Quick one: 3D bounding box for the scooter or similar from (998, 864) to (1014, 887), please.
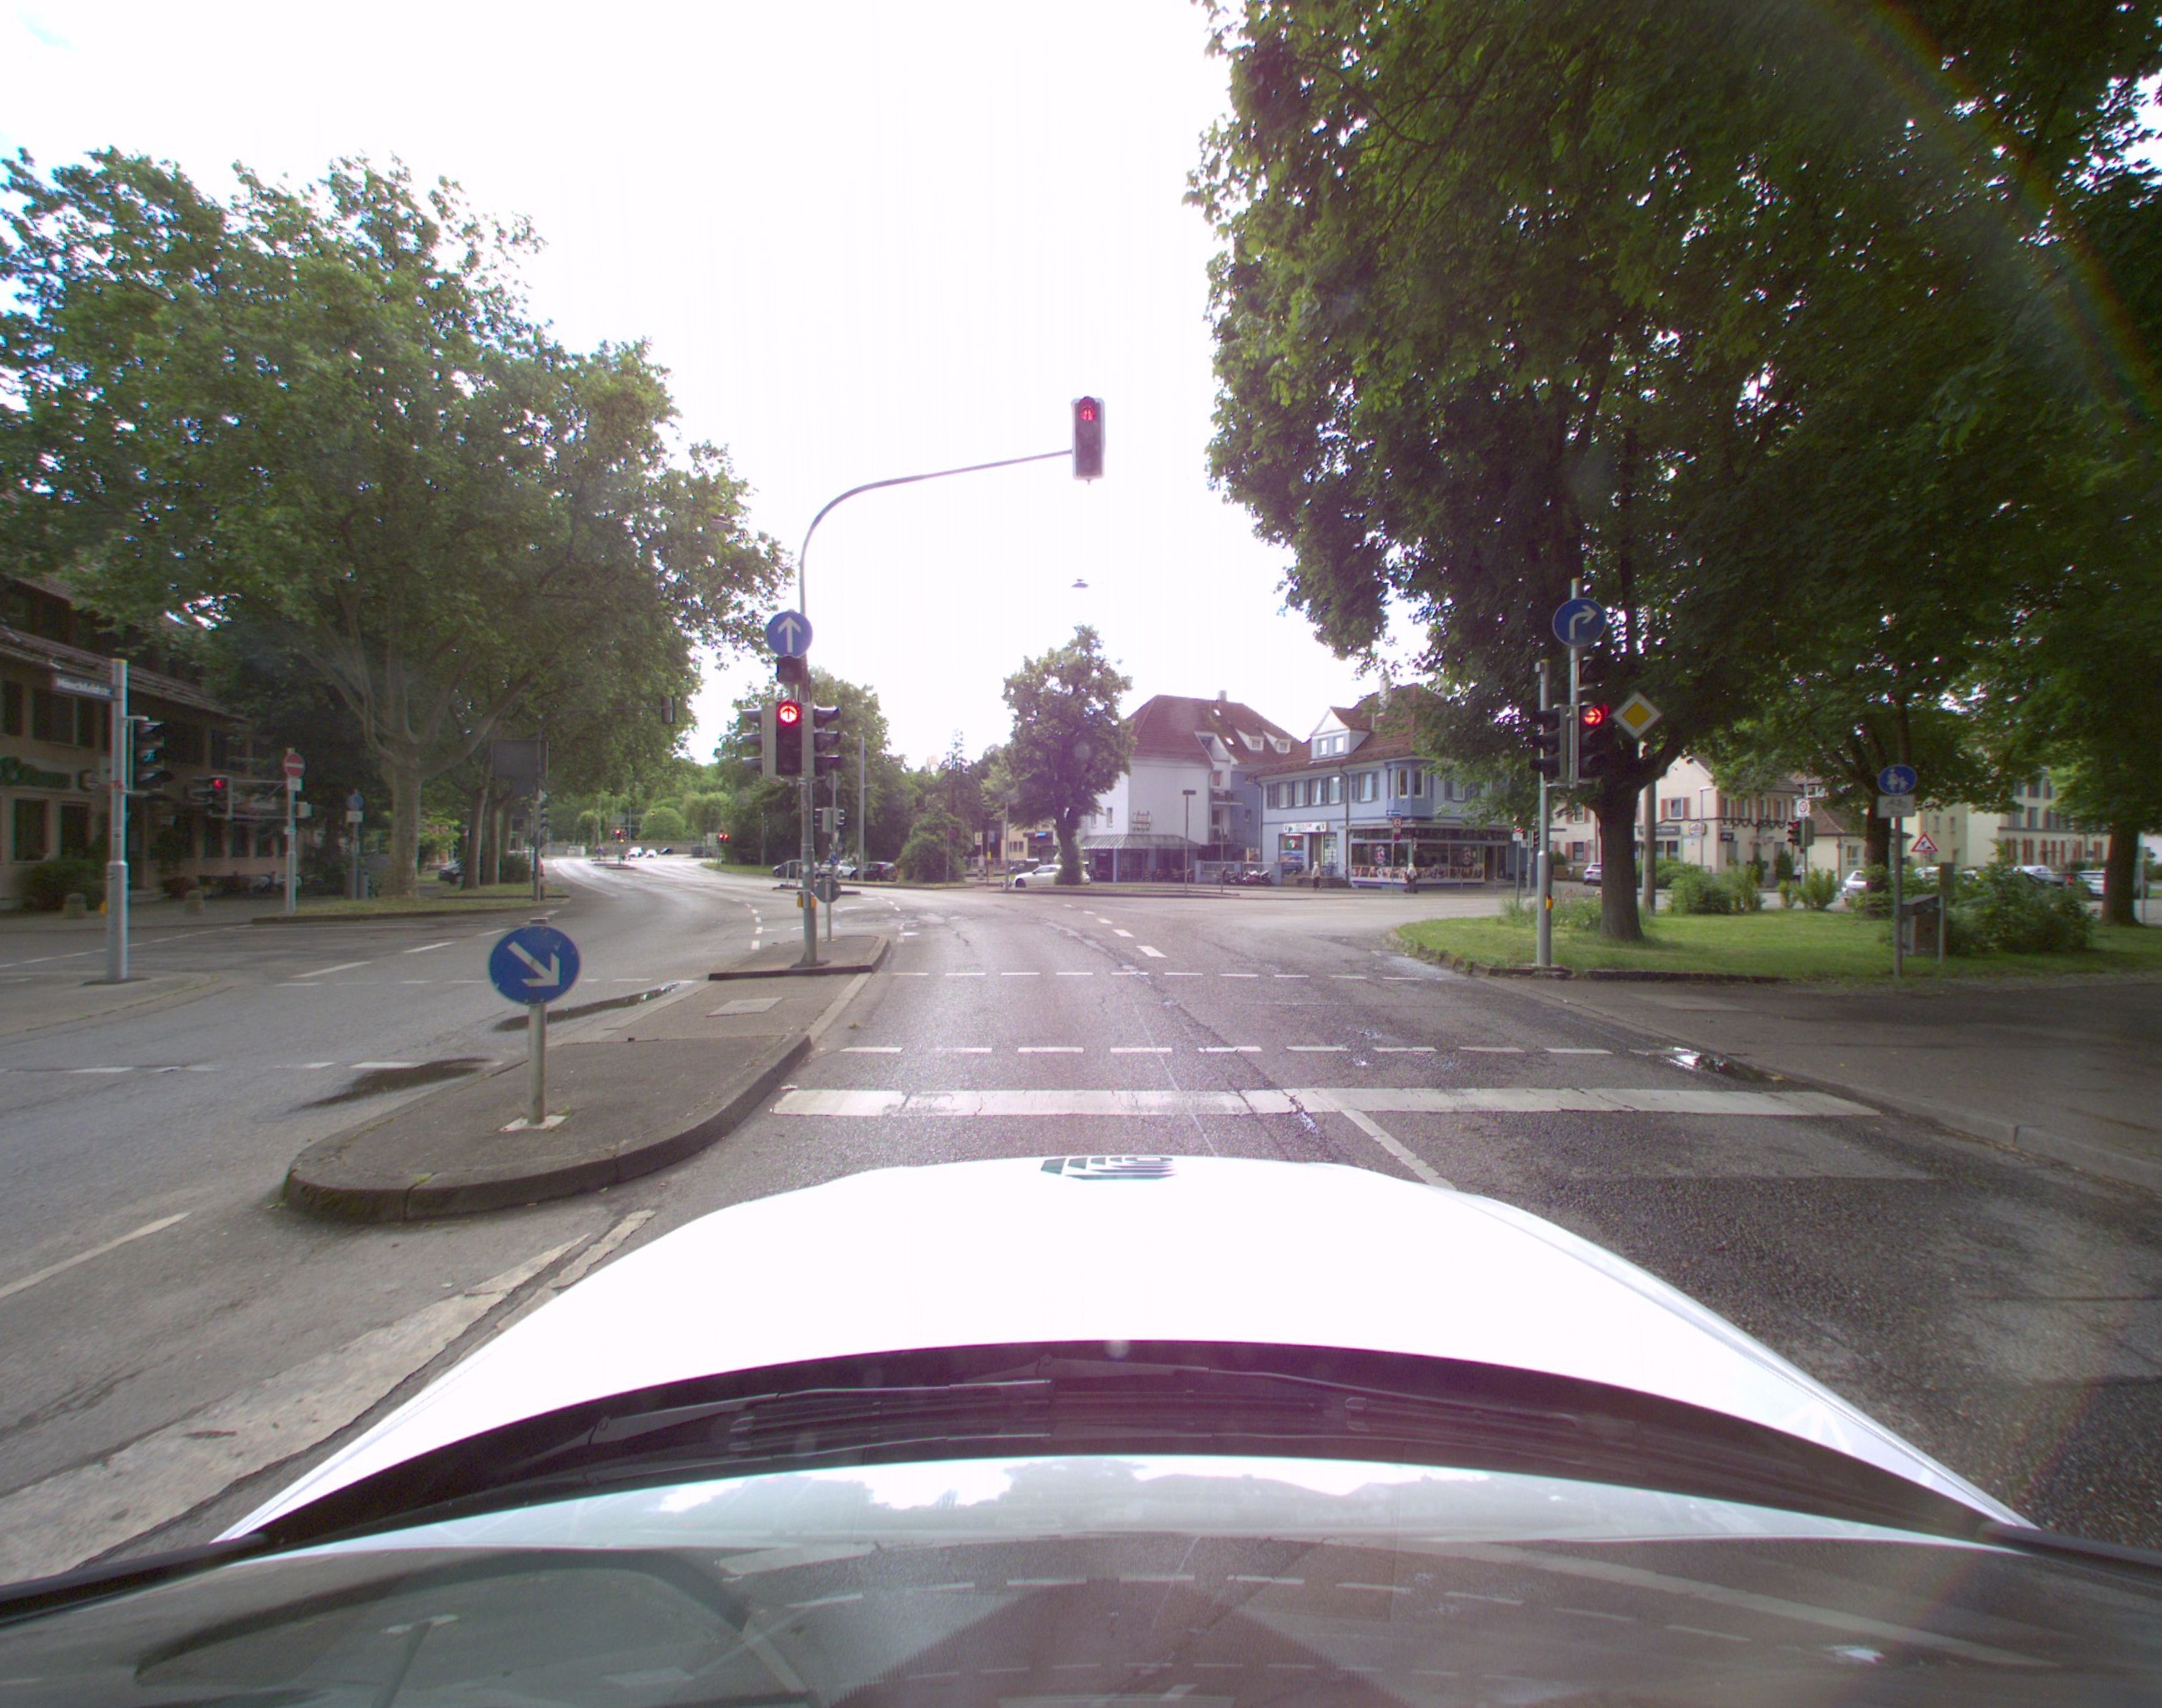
[{"bbox_3d":[-3.952,1.139,42.851,0.439,1.175,1.442,-1,-1,11],"label":"scooter or similar"}]

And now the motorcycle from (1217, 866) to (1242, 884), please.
[{"bbox_3d":[9.135,1.309,50.052,1.441,1.088,0.527,-1,-1,37],"label":"motorcycle"}]

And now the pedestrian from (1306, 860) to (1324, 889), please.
[{"bbox_3d":[12.748,1.111,44.280,0.724,1.560,0.773,-1,-1,33],"label":"pedestrian"}]

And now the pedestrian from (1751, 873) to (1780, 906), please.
[{"bbox_3d":[22.670,1.164,26.972,0.505,1.081,0.514,0,-1,-13],"label":"pedestrian"}]

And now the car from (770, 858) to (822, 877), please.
[{"bbox_3d":[-22.588,1.027,64.522,3.742,1.465,1.629,0,0,20],"label":"car"}]

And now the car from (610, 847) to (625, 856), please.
[{"bbox_3d":[-87.101,-0.456,153.042,3.293,1.486,1.594,-1,-2,43],"label":"car"}]

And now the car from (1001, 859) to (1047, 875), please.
[{"bbox_3d":[-5.318,1.236,75.923,3.948,1.442,1.742,0,0,-18],"label":"car"}]

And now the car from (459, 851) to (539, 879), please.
[{"bbox_3d":[-36.459,0.679,51.183,4.015,1.684,1.979,0,-1,-34],"label":"car"}]

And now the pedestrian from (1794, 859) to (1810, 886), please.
[{"bbox_3d":[43.535,1.113,49.154,0.504,1.560,0.507,0,-1,-13],"label":"pedestrian"}]

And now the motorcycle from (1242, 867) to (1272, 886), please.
[{"bbox_3d":[10.428,1.320,48.249,1.609,1.088,0.631,-1,-1,34],"label":"motorcycle"}]

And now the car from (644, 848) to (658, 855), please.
[{"bbox_3d":[-83.073,-0.489,157.315,2.988,1.417,1.509,-1,-2,42],"label":"car"}]

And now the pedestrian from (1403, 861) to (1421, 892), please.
[{"bbox_3d":[16.759,1.117,41.255,0.687,1.560,0.671,-1,-1,33],"label":"pedestrian"}]

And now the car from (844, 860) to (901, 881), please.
[{"bbox_3d":[-13.825,1.055,54.007,3.285,1.352,1.791,0,0,29],"label":"car"}]

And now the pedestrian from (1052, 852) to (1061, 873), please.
[{"bbox_3d":[-1.777,0.617,59.447,0.538,1.560,0.470,-1,-1,15],"label":"pedestrian"}]

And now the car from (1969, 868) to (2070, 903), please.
[{"bbox_3d":[42.346,1.382,36.757,3.731,1.457,1.640,0,0,-17],"label":"car"}]

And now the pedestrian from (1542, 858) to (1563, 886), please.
[{"bbox_3d":[26.384,0.990,45.577,0.671,1.560,0.743,0,-1,-13],"label":"pedestrian"}]

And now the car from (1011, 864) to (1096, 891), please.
[{"bbox_3d":[-1.594,1.286,45.938,4.654,1.410,1.914,0,-1,37],"label":"car"}]

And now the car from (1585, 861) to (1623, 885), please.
[{"bbox_3d":[32.459,1.143,50.624,1.866,1.391,3.637,0,0,31],"label":"car"}]

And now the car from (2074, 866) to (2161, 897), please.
[{"bbox_3d":[52.596,1.373,41.257,3.731,1.457,1.640,0,0,-17],"label":"car"}]

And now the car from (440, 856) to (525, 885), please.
[{"bbox_3d":[-35.629,0.954,48.614,4.015,1.684,1.979,0,-1,-34],"label":"car"}]

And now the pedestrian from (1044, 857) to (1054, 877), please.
[{"bbox_3d":[-3.198,1.300,80.953,0.838,2.014,1.051,0,-1,-12],"label":"pedestrian"}]

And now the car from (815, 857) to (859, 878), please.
[{"bbox_3d":[-20.134,1.086,67.413,1.848,1.640,3.768,0,0,13],"label":"car"}]

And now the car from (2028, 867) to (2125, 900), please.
[{"bbox_3d":[47.080,1.374,38.520,3.731,1.457,1.640,0,0,-17],"label":"car"}]

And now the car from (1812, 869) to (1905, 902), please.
[{"bbox_3d":[31.815,1.275,33.334,3.007,1.267,1.455,0,-1,-17],"label":"car"}]
